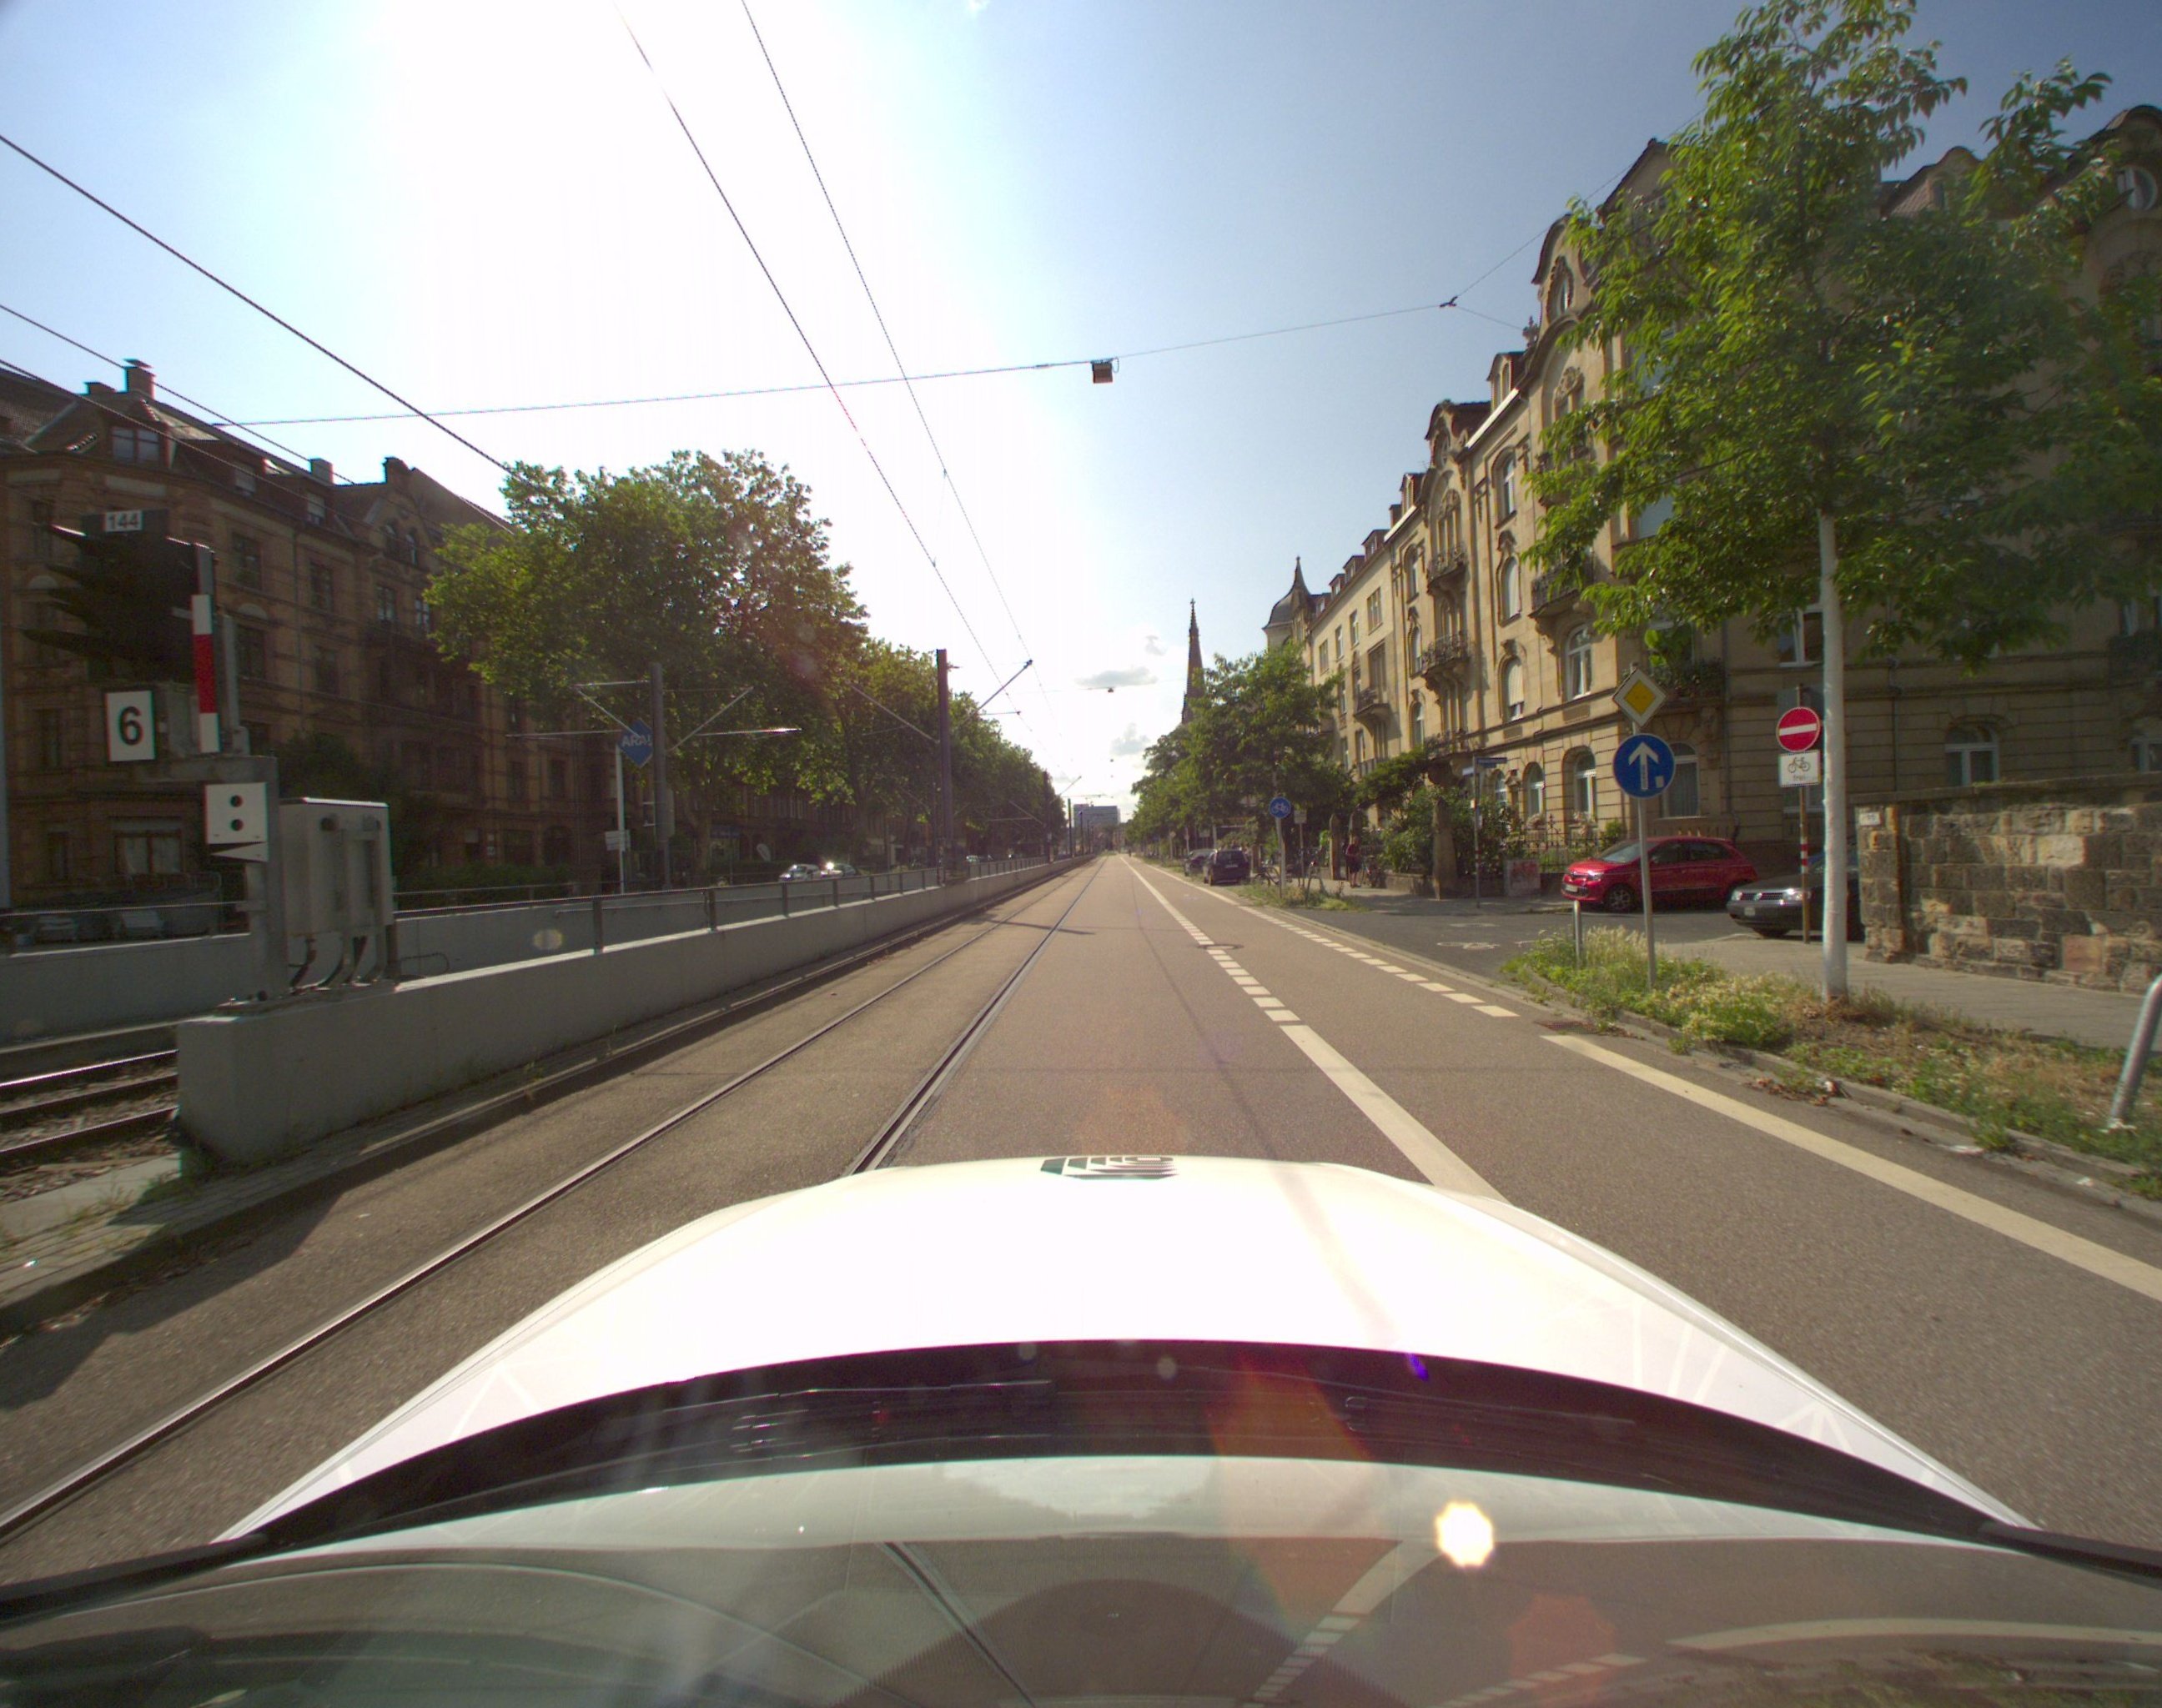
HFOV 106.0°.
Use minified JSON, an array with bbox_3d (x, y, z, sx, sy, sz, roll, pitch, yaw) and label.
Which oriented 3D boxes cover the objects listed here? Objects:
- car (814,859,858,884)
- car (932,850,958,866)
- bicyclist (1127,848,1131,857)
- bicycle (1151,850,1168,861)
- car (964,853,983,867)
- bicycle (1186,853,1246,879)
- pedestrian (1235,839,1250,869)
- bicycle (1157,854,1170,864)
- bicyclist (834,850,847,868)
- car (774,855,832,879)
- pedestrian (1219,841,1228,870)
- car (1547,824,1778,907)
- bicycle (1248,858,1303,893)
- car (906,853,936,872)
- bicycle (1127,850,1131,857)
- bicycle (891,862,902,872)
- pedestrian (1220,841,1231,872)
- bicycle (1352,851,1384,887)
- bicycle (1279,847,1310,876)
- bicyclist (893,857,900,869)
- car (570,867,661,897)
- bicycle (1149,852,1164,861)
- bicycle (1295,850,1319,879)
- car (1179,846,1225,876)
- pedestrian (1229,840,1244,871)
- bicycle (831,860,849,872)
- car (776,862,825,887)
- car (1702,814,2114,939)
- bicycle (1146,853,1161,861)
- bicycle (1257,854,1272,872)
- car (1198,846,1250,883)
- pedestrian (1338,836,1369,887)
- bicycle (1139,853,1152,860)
[{"bbox_3d":[-17.073,1.214,56.975,1.637,1.482,4.004,-5,0,2],"label":"car"},{"bbox_3d":[-16.260,0.471,97.402,1.984,1.636,4.005,-5,0,4],"label":"car"},{"bbox_3d":[9.372,-0.204,158.752,0.767,1.730,1.027,-2,0,3],"label":"bicyclist"},{"bbox_3d":[8.918,0.138,92.403,1.816,1.145,0.649,-5,0,-9],"label":"bicycle"},{"bbox_3d":[-15.268,0.876,115.580,1.832,1.727,4.003,-5,0,2],"label":"car"},{"bbox_3d":[7.090,0.610,42.765,2.947,1.246,0.790,-2,0,-11],"label":"bicycle"},{"bbox_3d":[9.207,0.027,46.521,0.530,1.676,0.571,-5,0,-16],"label":"pedestrian"},{"bbox_3d":[8.819,0.511,87.227,0.651,1.038,1.810,-5,0,-19],"label":"bicycle"},{"bbox_3d":[-19.960,0.373,67.556,0.686,1.455,1.045,-2,0,2],"label":"bicyclist"},{"bbox_3d":[-24.989,1.162,73.254,4.386,1.918,2.000,-2,0,0],"label":"car"},{"bbox_3d":[8.380,0.081,47.972,0.316,1.706,0.462,-5,0,16],"label":"pedestrian"},{"bbox_3d":[12.689,0.244,17.978,3.724,1.555,1.759,-3,0,5],"label":"car"},{"bbox_3d":[6.486,0.706,27.182,1.702,1.069,0.470,-2,0,-4],"label":"bicycle"},{"bbox_3d":[-16.180,0.807,82.620,1.708,1.691,3.739,-4,1,9],"label":"car"},{"bbox_3d":[9.382,-0.081,158.727,0.796,1.236,2.780,-2,0,3],"label":"bicycle"},{"bbox_3d":[-19.312,1.348,85.289,0.533,0.913,2.150,-2,0,2],"label":"bicycle"},{"bbox_3d":[8.672,0.141,48.811,0.457,1.804,0.319,-5,0,0],"label":"pedestrian"},{"bbox_3d":[9.366,0.473,26.599,0.468,1.108,1.712,-2,0,2],"label":"bicycle"},{"bbox_3d":[9.800,0.327,37.434,0.655,1.248,2.945,-5,0,2],"label":"bicycle"},{"bbox_3d":[-19.317,0.958,85.339,0.533,1.232,0.724,-2,0,2],"label":"bicyclist"},{"bbox_3d":[-26.335,1.571,46.142,3.969,1.483,2.002,-2,0,4],"label":"car"},{"bbox_3d":[9.760,0.327,105.033,1.811,0.902,0.651,-5,0,-2],"label":"bicycle"},{"bbox_3d":[9.585,0.421,34.581,0.426,1.139,2.024,-5,0,2],"label":"bicycle"},{"bbox_3d":[6.821,0.359,46.295,1.793,1.526,4.487,-4,0,-1],"label":"car"},{"bbox_3d":[9.220,0.097,48.209,0.667,1.804,0.319,-5,0,0],"label":"pedestrian"},{"bbox_3d":[-19.939,0.954,67.526,0.668,0.913,2.369,-2,0,2],"label":"bicycle"},{"bbox_3d":[-17.326,1.238,50.494,1.490,1.303,3.496,-5,0,4],"label":"car"},{"bbox_3d":[12.009,0.336,12.054,4.237,1.556,1.756,-2,-2,0],"label":"car"},{"bbox_3d":[9.798,0.432,109.973,1.811,0.902,0.603,-5,0,-2],"label":"bicycle"},{"bbox_3d":[10.020,0.483,44.566,0.426,0.940,1.808,-5,0,2],"label":"bicycle"},{"bbox_3d":[6.294,0.414,36.283,1.679,1.502,4.712,-3,0,3],"label":"car"},{"bbox_3d":[8.952,0.233,26.754,0.720,1.629,0.725,-2,0,2],"label":"pedestrian"},{"bbox_3d":[9.633,0.395,121.234,1.811,0.902,0.603,-5,0,-2],"label":"bicycle"}]
